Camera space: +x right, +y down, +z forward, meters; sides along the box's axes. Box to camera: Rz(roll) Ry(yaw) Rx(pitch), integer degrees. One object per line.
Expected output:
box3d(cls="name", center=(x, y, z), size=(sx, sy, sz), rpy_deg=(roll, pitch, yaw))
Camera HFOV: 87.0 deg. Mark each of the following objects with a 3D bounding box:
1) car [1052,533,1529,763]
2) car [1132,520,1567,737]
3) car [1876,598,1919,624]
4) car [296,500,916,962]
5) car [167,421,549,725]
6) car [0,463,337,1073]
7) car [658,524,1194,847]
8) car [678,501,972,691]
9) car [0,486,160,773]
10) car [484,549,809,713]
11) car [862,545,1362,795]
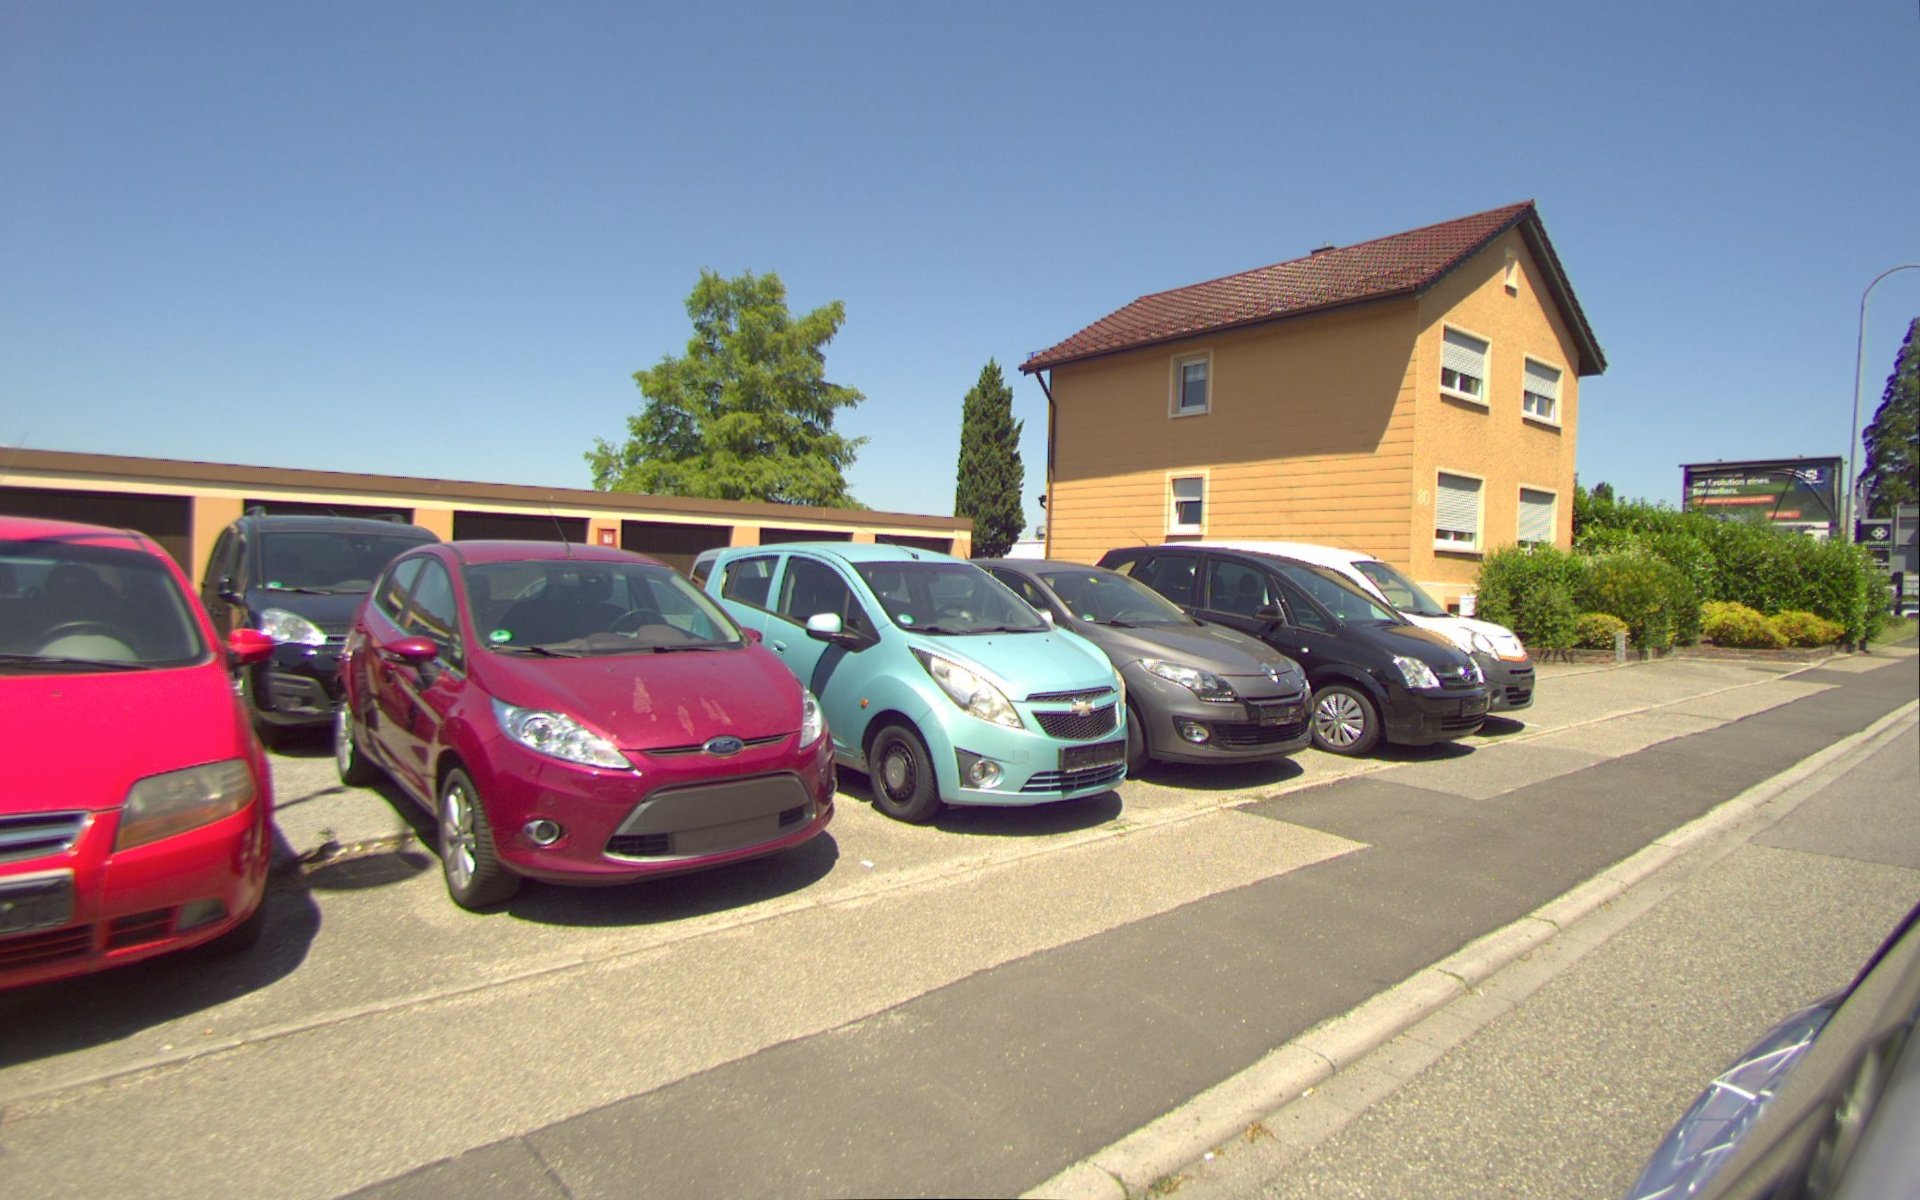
box3d(cls="car", center=(2.912, 0.264, 9.519), size=(1.734, 1.701, 3.880), rpy_deg=(0, 3, -43))
box3d(cls="car", center=(4.148, 0.194, 11.242), size=(4.135, 1.962, 1.779), rpy_deg=(2, 1, 44))
box3d(cls="car", center=(55.639, 0.659, 58.617), size=(1.598, 1.400, 3.637), rpy_deg=(-1, 2, -40))
box3d(cls="car", center=(-2.114, 0.361, 5.395), size=(1.721, 1.586, 3.688), rpy_deg=(0, 3, -44))
box3d(cls="car", center=(-5.326, -0.130, 8.658), size=(1.939, 1.920, 4.343), rpy_deg=(0, -1, -43))
box3d(cls="car", center=(-3.813, 0.350, 3.894), size=(1.680, 1.586, 3.689), rpy_deg=(0, 3, -44))
box3d(cls="car", center=(-0.451, 0.333, 6.880), size=(1.614, 1.586, 3.690), rpy_deg=(0, 2, -42))
box3d(cls="car", center=(-1.744, -0.007, 11.959), size=(1.658, 1.862, 3.901), rpy_deg=(0, -1, -39))
box3d(cls="car", center=(-7.086, 0.215, 7.416), size=(1.752, 1.689, 4.045), rpy_deg=(0, -1, -41))
box3d(cls="car", center=(-3.398, 0.300, 10.552), size=(3.894, 1.393, 1.615), rpy_deg=(-2, -1, 45))
box3d(cls="car", center=(1.026, 0.357, 8.306), size=(1.801, 1.528, 3.801), rpy_deg=(0, 2, -40))
